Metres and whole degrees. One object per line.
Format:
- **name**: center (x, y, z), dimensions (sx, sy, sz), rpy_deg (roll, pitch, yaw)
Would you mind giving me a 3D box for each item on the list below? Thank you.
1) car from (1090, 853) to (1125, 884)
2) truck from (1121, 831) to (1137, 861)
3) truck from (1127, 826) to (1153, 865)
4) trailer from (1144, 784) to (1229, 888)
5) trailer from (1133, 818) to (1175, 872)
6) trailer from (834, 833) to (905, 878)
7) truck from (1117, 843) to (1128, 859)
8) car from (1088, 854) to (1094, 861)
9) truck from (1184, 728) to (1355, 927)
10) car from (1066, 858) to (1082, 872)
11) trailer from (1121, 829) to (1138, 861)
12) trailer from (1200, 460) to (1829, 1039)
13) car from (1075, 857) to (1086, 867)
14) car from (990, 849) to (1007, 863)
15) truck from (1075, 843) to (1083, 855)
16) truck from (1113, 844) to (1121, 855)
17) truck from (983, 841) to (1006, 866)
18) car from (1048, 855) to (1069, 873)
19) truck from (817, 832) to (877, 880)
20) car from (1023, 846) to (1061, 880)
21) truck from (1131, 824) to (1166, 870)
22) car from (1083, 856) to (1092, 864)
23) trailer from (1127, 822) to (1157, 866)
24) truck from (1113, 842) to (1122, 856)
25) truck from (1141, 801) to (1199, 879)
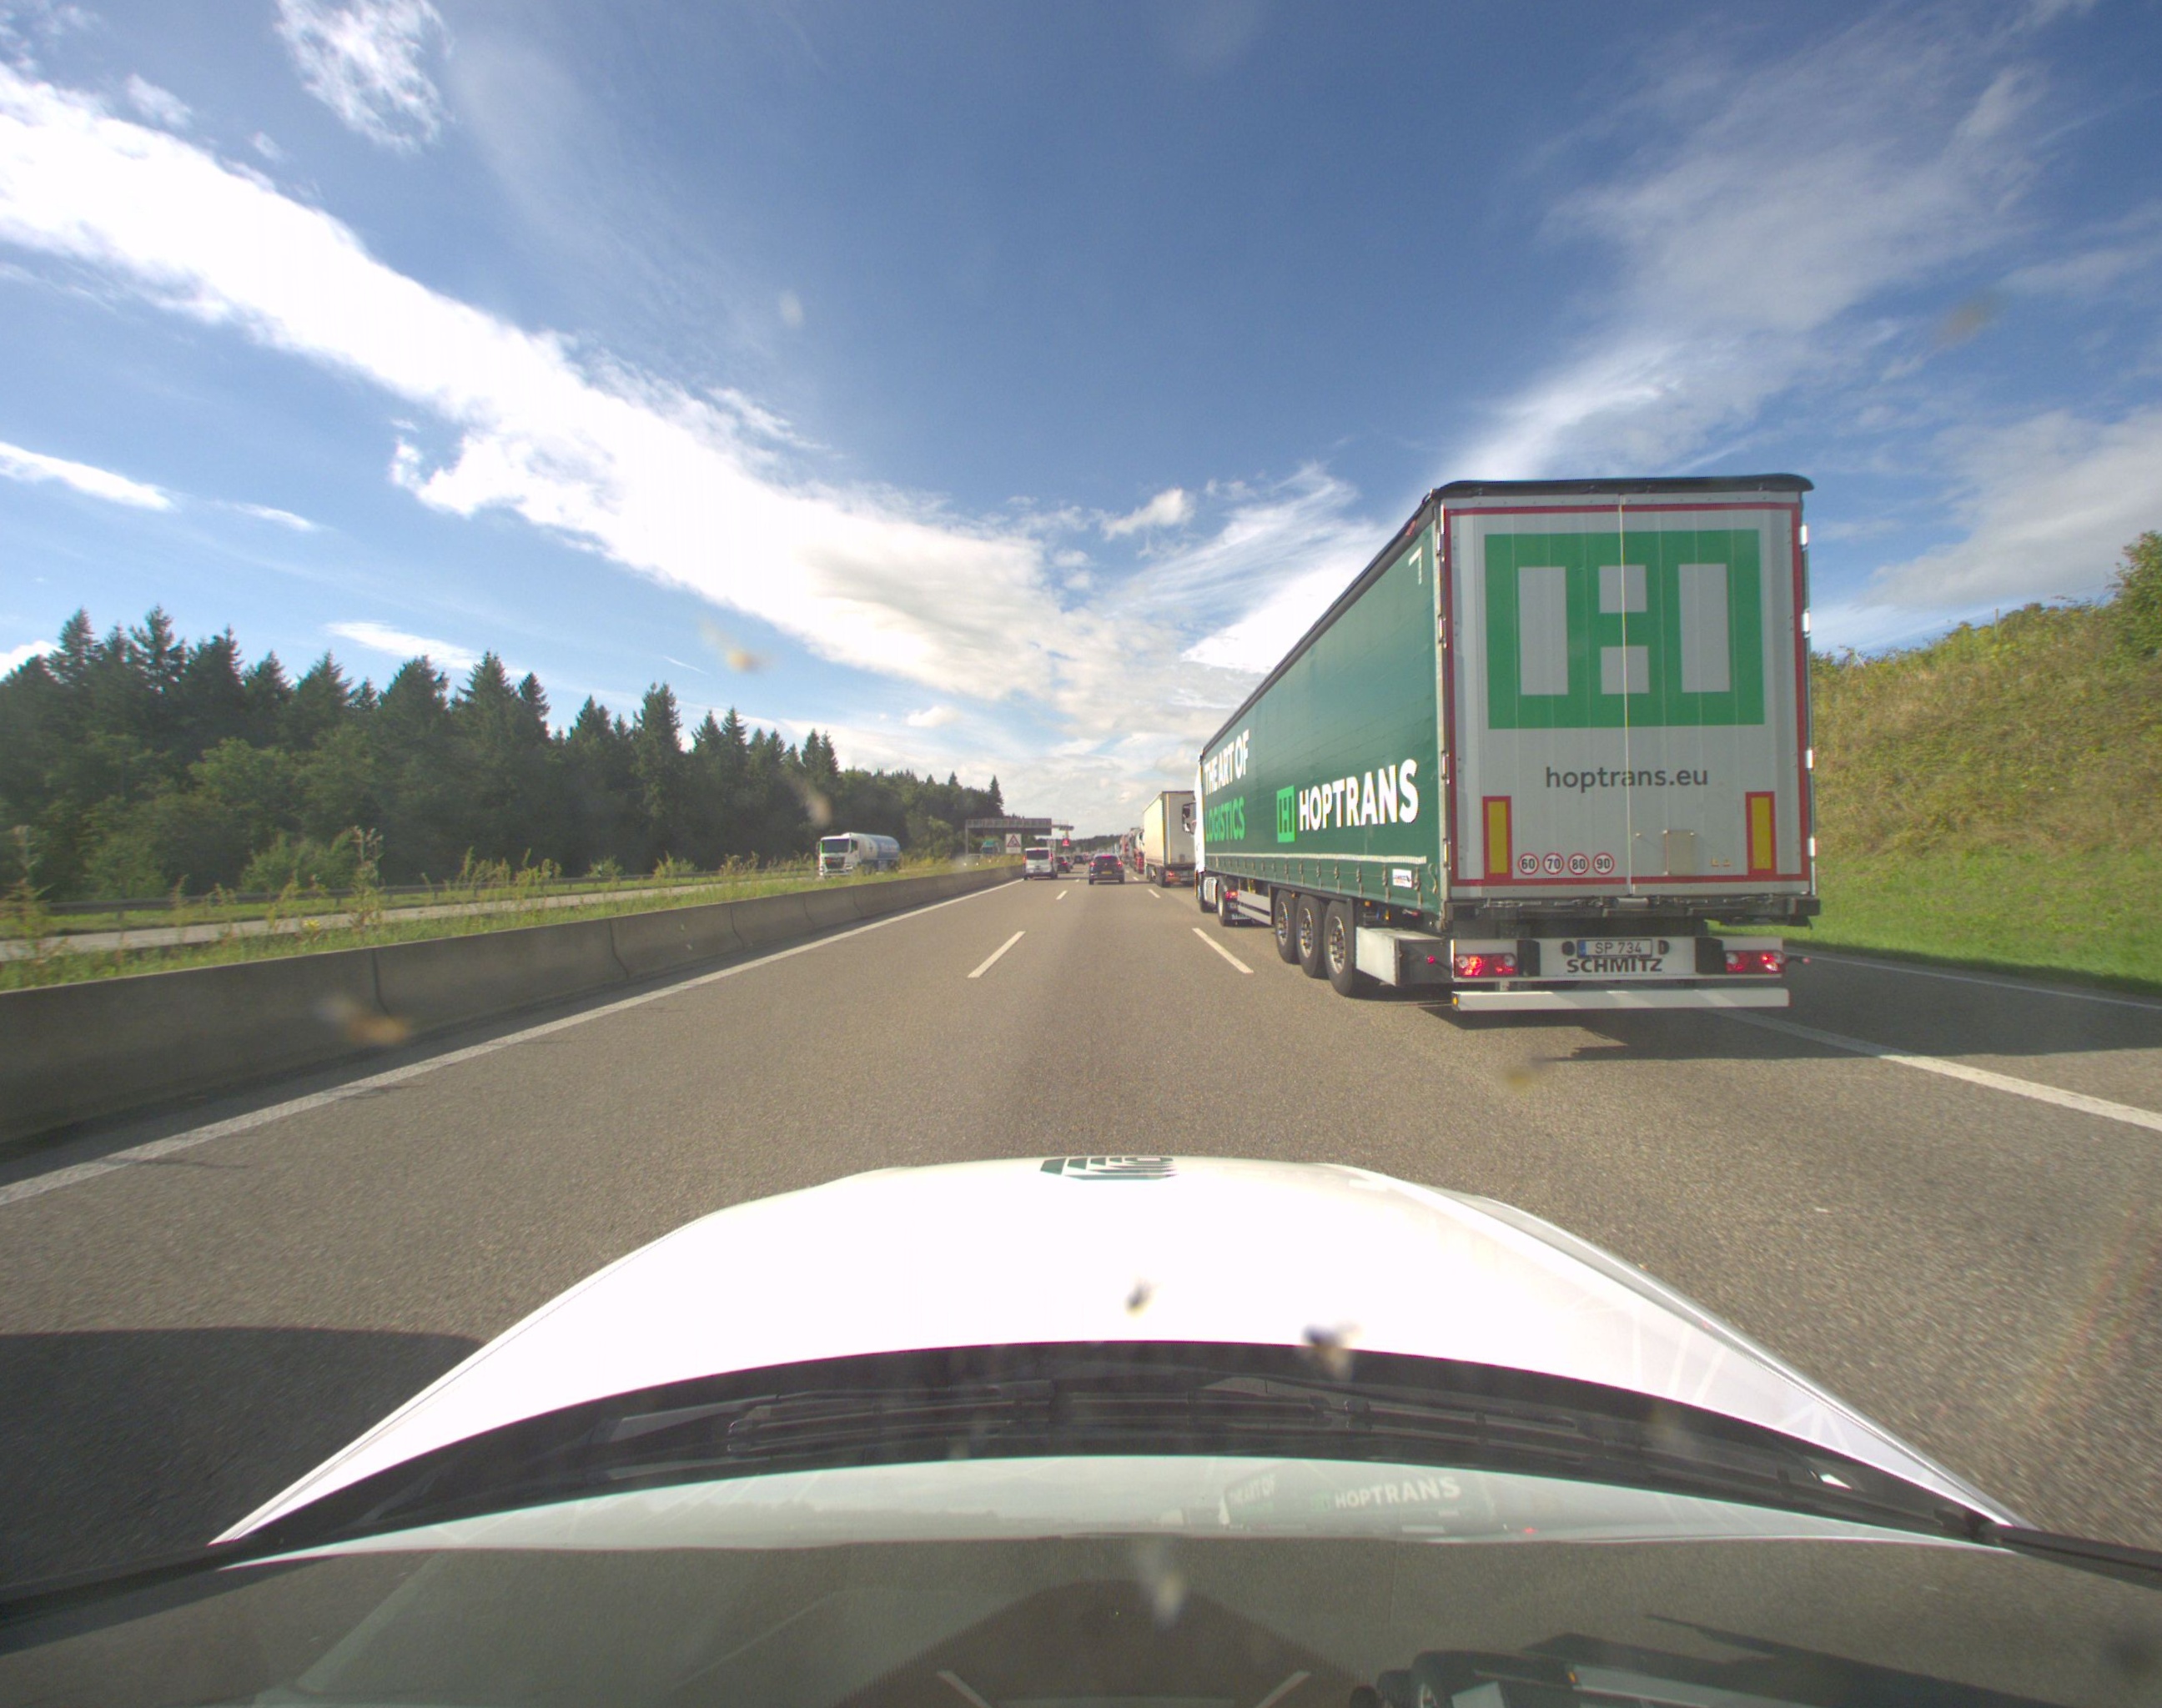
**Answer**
- **car**: center (1.378, 0.730, 42.118), dimensions (1.690, 1.483, 4.161), rpy_deg (0, -1, 2)
- **truck**: center (6.859, -1.090, 116.954), dimensions (2.125, 4.282, 6.342), rpy_deg (-1, 0, 2)
- **truck**: center (6.694, -0.937, 93.260), dimensions (2.774, 4.247, 6.464), rpy_deg (-1, -1, 3)
- **trailer**: center (4.702, -0.716, 38.770), dimensions (2.692, 4.082, 12.950), rpy_deg (-2, 0, 2)
- **trailer**: center (5.374, -0.586, 61.681), dimensions (2.531, 3.654, 10.631), rpy_deg (-1, 0, 2)
- **trailer**: center (-16.702, 0.131, 65.180), dimensions (2.312, 3.284, 10.883), rpy_deg (-1, 0, 3)
- **truck**: center (8.272, -0.553, 162.496), dimensions (1.986, 2.932, 4.984), rpy_deg (2, 0, 2)
- **car**: center (2.148, 0.770, 174.932), dimensions (1.356, 1.301, 3.085), rpy_deg (2, 0, 2)
- **truck**: center (4.137, -0.493, 19.447), dimensions (2.637, 3.869, 6.999), rpy_deg (-1, 0, 2)
- **car**: center (-0.736, 1.129, 85.510), dimensions (1.494, 1.396, 3.477), rpy_deg (2, 0, 2)
- **trailer**: center (6.641, -1.133, 112.501), dimensions (2.141, 4.259, 8.445), rpy_deg (-1, 0, 2)
- **trailer**: center (3.887, -0.666, 12.187), dimensions (2.651, 3.869, 13.400), rpy_deg (-1, 0, 2)
- **car**: center (-0.116, 1.173, 118.678), dimensions (1.429, 1.310, 3.534), rpy_deg (2, 0, 1)
- **car**: center (-11.461, 0.297, 113.803), dimensions (1.753, 1.882, 4.002), rpy_deg (2, 0, 2)
- **truck**: center (-0.654, -1.538, 254.611), dimensions (2.335, 3.594, 6.308), rpy_deg (2, 0, 2)
- **truck**: center (10.355, -1.149, 233.305), dimensions (1.986, 3.052, 4.984), rpy_deg (2, 0, 2)
- **truck**: center (-14.839, -0.063, 140.615), dimensions (2.701, 4.244, 10.346), rpy_deg (-1, 0, 1)
- **car**: center (-1.857, 0.828, 67.354), dimensions (1.494, 1.396, 3.477), rpy_deg (2, 0, 2)
- **truck**: center (-16.956, 0.137, 59.427), dimensions (2.308, 3.273, 6.108), rpy_deg (-1, 0, 2)
- **car**: center (-2.414, 0.580, 51.746), dimensions (1.925, 1.979, 5.100), rpy_deg (2, 0, 2)
- **truck**: center (5.577, -0.509, 67.798), dimensions (2.524, 3.584, 6.732), rpy_deg (-1, 0, 2)
- **car**: center (1.031, 0.963, 135.177), dimensions (1.429, 1.310, 3.534), rpy_deg (2, 0, 1)
- **trailer**: center (6.399, -0.974, 86.477), dimensions (2.791, 4.244, 11.063), rpy_deg (-1, 0, 3)
- **truck**: center (8.507, -1.076, 189.517), dimensions (1.986, 3.052, 4.984), rpy_deg (2, 0, 2)
- **truck**: center (4.952, -0.721, 46.177), dimensions (2.698, 4.060, 6.364), rpy_deg (-1, 0, 2)
